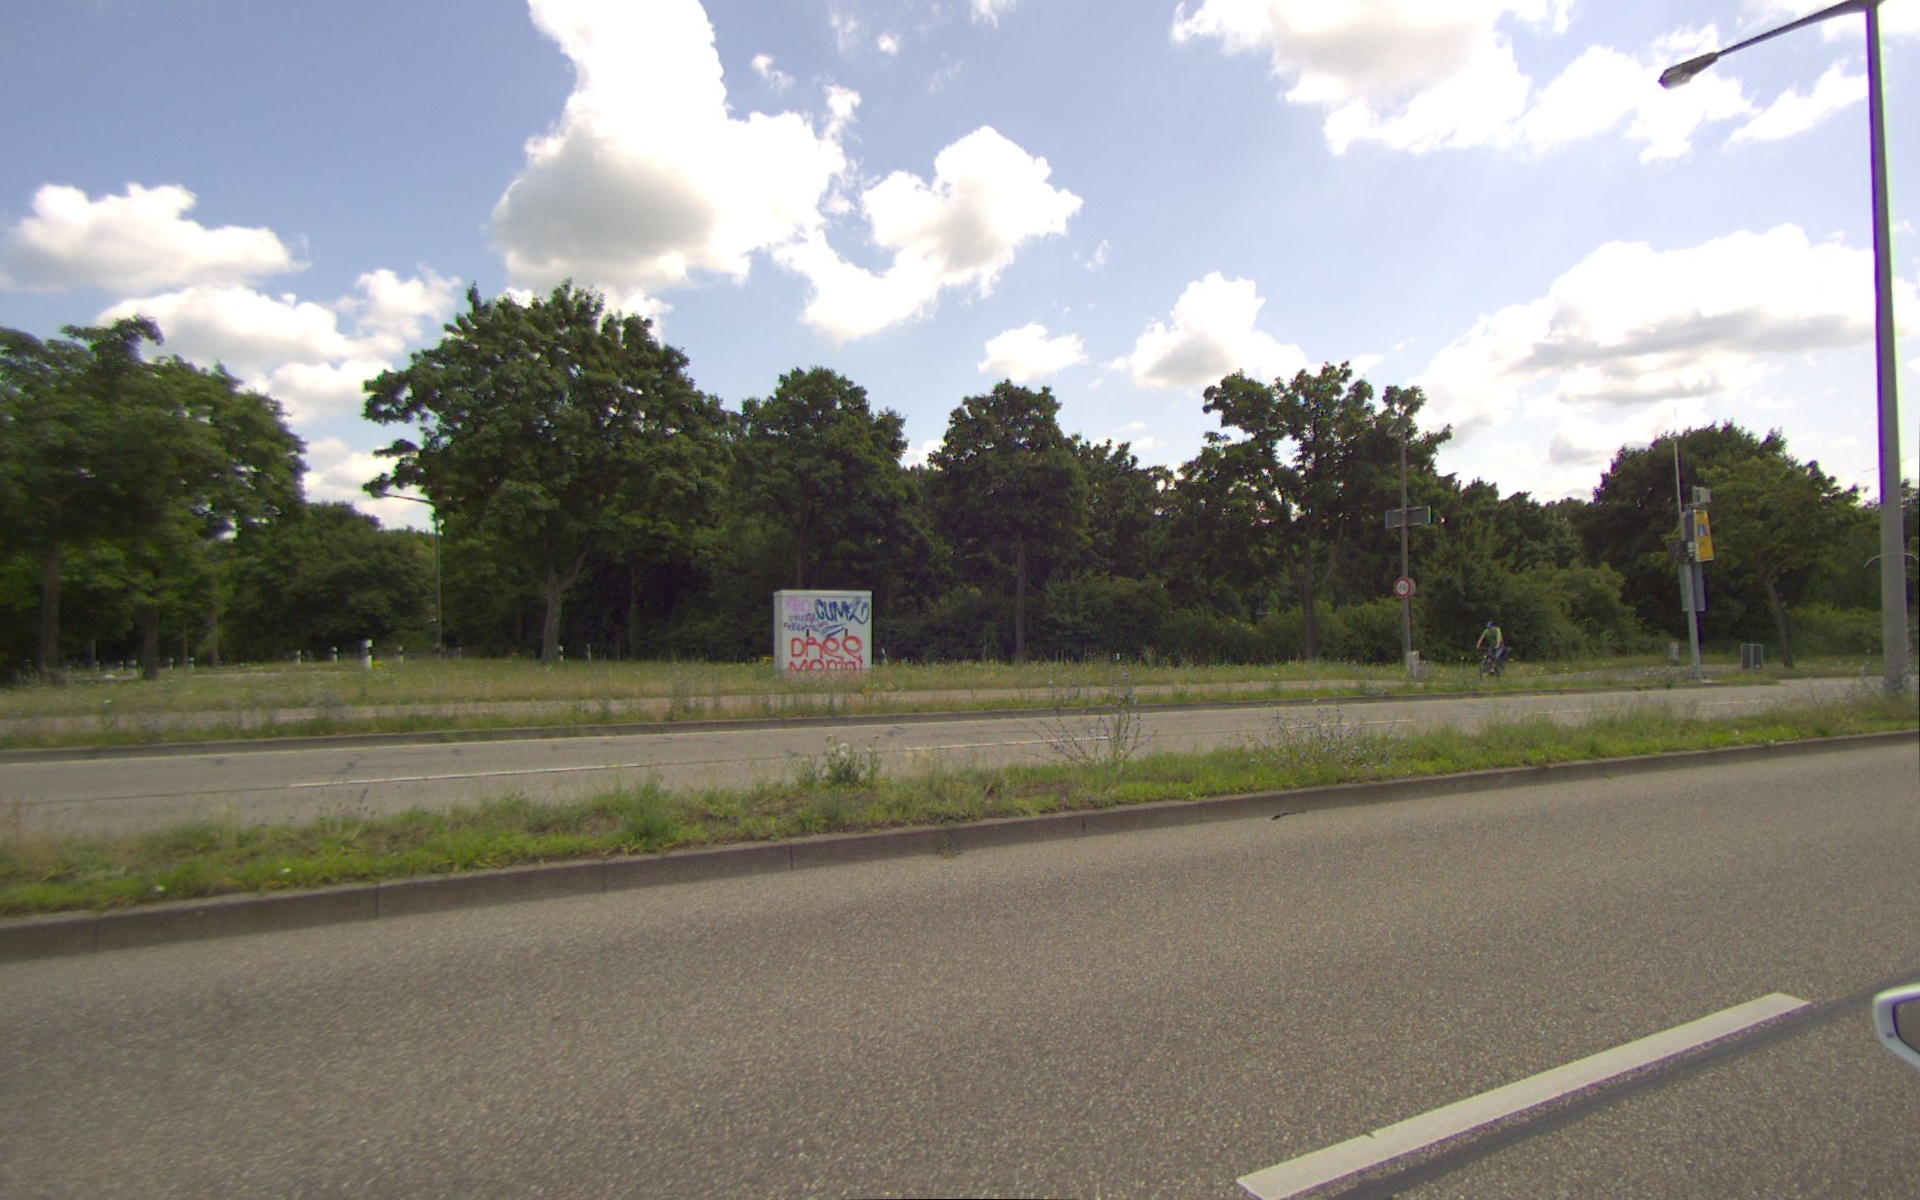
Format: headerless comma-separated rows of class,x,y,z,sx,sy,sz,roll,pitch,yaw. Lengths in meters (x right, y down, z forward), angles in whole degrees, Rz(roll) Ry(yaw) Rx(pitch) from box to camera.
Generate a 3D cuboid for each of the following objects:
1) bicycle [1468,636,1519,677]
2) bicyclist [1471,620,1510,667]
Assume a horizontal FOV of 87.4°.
bicycle,15.304,1.605,28.808,1.887,1.082,0.429,0,1,-33
bicyclist,15.195,1.224,28.746,1.095,1.289,0.517,0,1,-33
